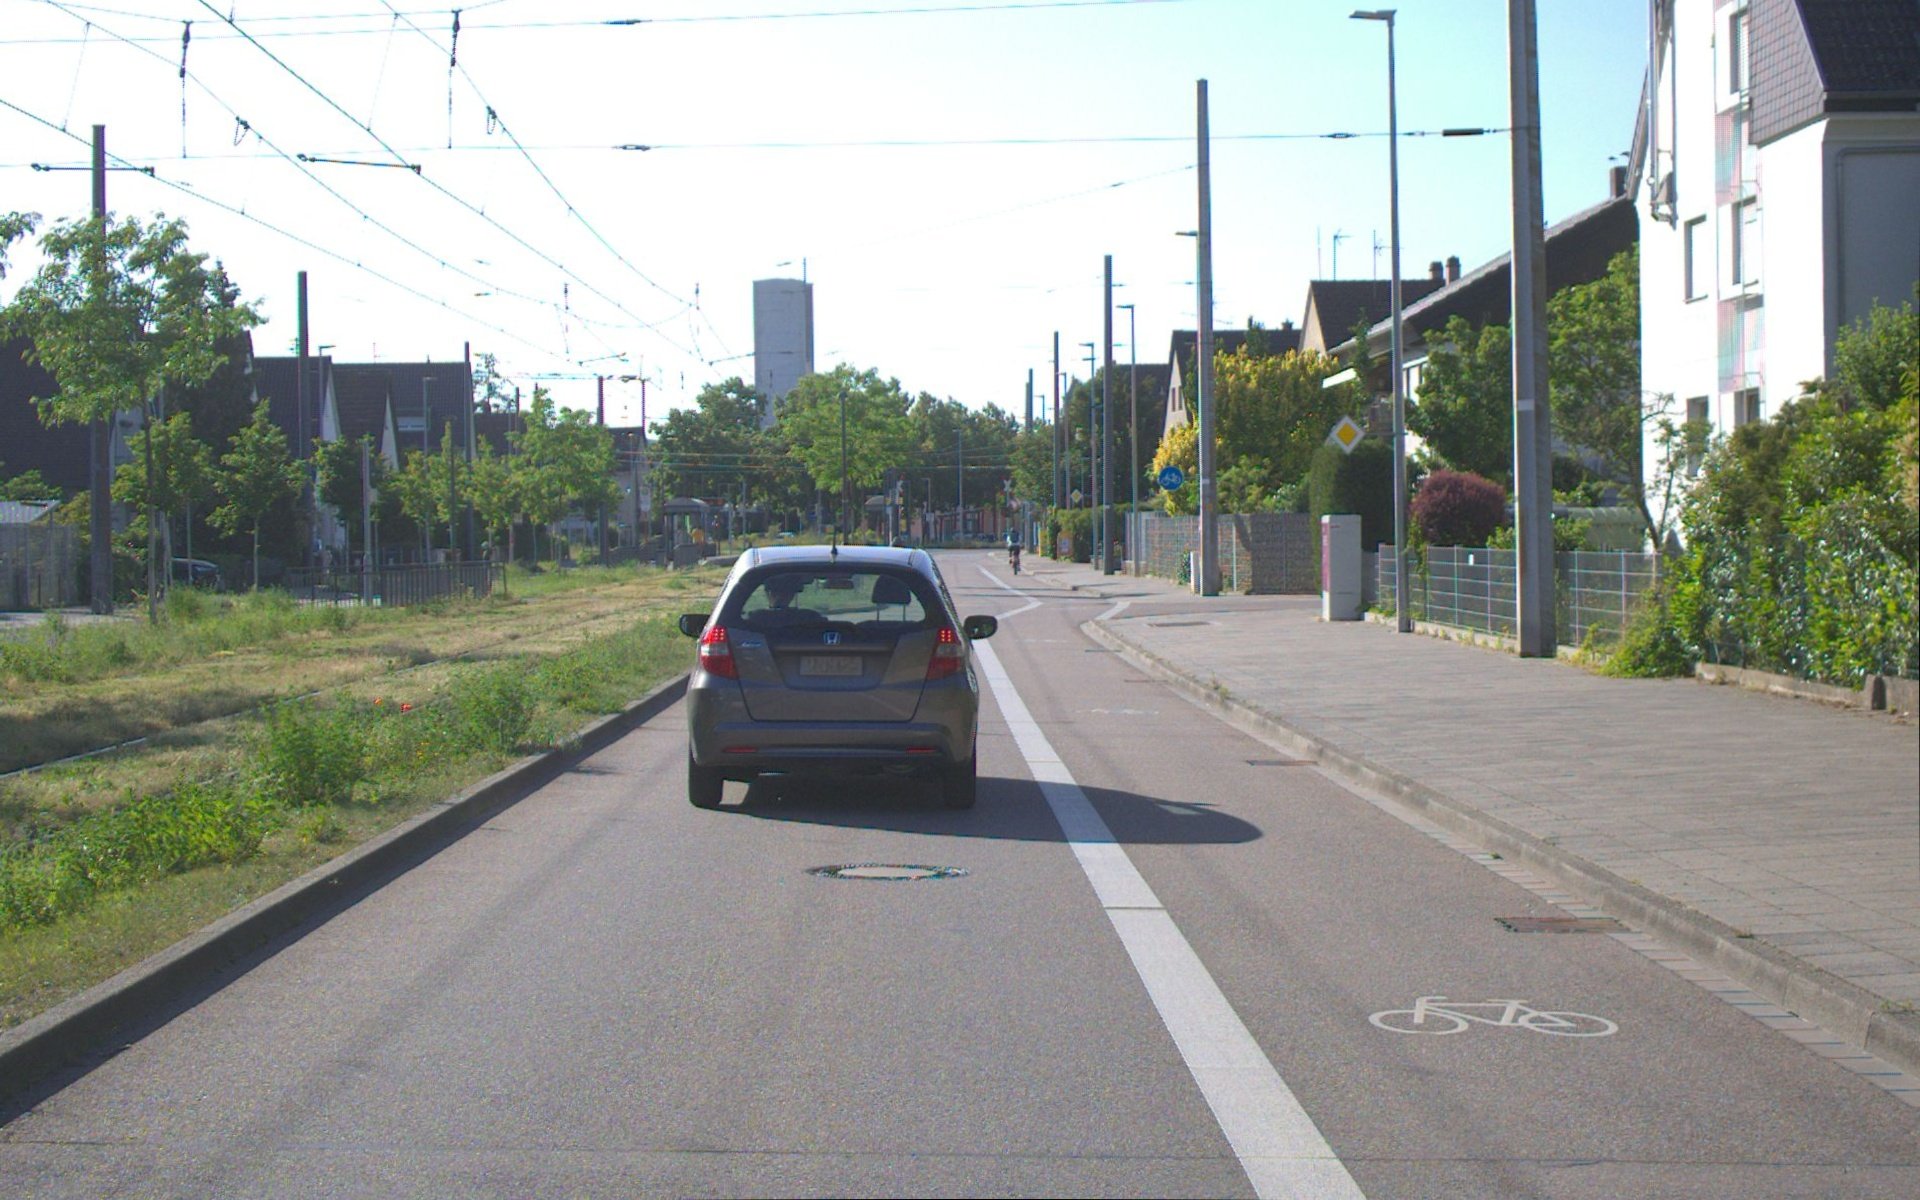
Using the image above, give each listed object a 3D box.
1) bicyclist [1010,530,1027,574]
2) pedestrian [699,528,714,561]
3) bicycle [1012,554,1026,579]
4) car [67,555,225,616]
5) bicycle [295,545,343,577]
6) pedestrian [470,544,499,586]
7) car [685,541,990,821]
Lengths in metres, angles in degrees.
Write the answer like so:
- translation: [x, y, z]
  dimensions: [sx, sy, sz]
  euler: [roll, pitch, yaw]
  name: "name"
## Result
- translation: [2.242, -1.840, 132.099]
  dimensions: [0.598, 1.695, 0.683]
  euler: [1, 0, 0]
  name: "bicyclist"
- translation: [-11.813, -2.607, 160.112]
  dimensions: [0.675, 1.530, 0.749]
  euler: [0, 1, -5]
  name: "pedestrian"
- translation: [2.271, -1.282, 132.228]
  dimensions: [0.475, 0.958, 1.657]
  euler: [1, 0, 0]
  name: "bicycle"
- translation: [-24.376, -0.454, 103.068]
  dimensions: [4.539, 1.728, 2.053]
  euler: [-1, 1, -12]
  name: "car"
- translation: [-27.748, -1.677, 148.861]
  dimensions: [1.988, 1.361, 0.705]
  euler: [0, 1, -7]
  name: "bicycle"
- translation: [-18.505, -1.361, 133.834]
  dimensions: [0.965, 1.635, 1.086]
  euler: [0, 1, -1]
  name: "pedestrian"
- translation: [-0.744, 0.440, 20.899]
  dimensions: [1.670, 1.530, 3.487]
  euler: [1, 0, -2]
  name: "car"
